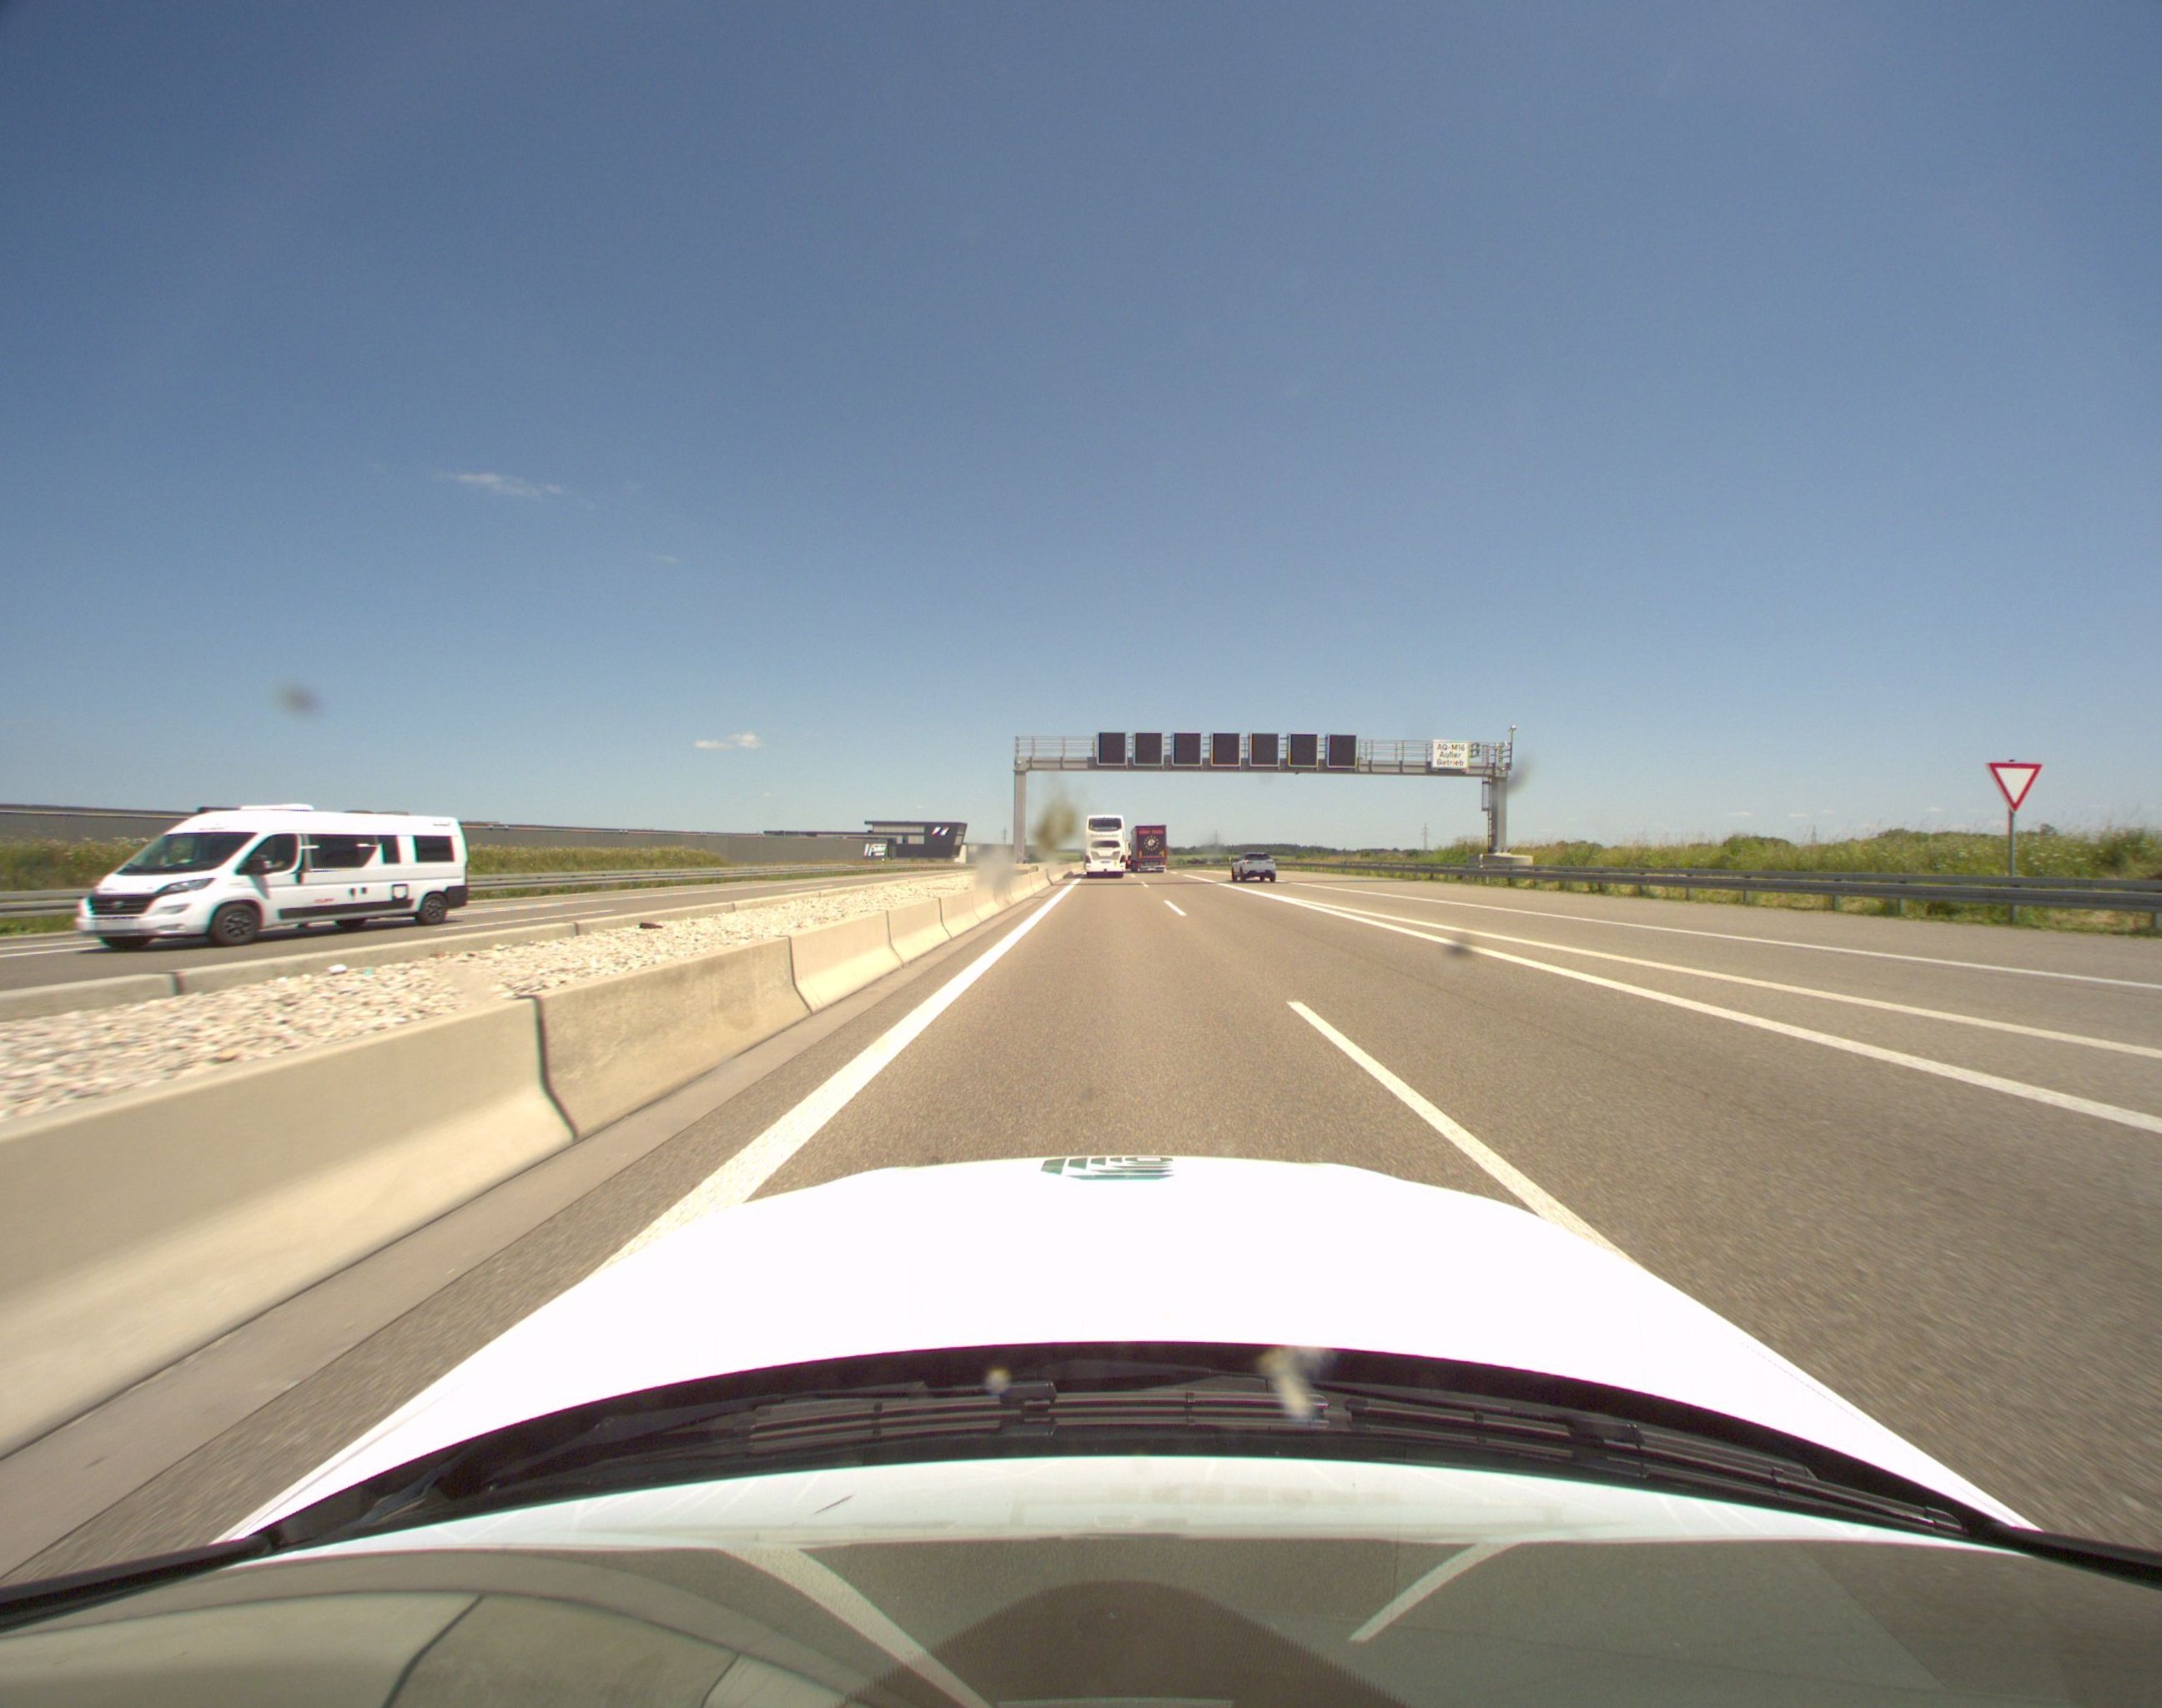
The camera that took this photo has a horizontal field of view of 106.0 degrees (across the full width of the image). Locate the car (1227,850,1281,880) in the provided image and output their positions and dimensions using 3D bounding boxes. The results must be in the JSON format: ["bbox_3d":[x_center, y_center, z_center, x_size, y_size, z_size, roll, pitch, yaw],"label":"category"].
[{"bbox_3d":[9.160,0.553,43.549,1.886,1.529,4.259,0,0,-2],"label":"car"}]

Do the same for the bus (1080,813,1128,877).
[{"bbox_3d":[1.433,-0.621,55.619,2.971,3.974,9.104,0,1,0],"label":"bus"}]

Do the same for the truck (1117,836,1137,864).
[{"bbox_3d":[6.440,-0.501,114.398,2.429,3.789,6.494,-1,0,1],"label":"truck"}]

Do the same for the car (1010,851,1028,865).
[{"bbox_3d":[-9.563,0.599,126.075,2.139,2.013,5.384,0,0,2],"label":"car"}]

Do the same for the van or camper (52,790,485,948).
[{"bbox_3d":[-15.604,0.246,16.475,2.311,2.558,6.317,0,0,1],"label":"van or camper"}]

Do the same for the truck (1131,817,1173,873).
[{"bbox_3d":[6.259,-0.617,73.928,3.365,4.464,13.577,0,-2,3],"label":"truck"}]
